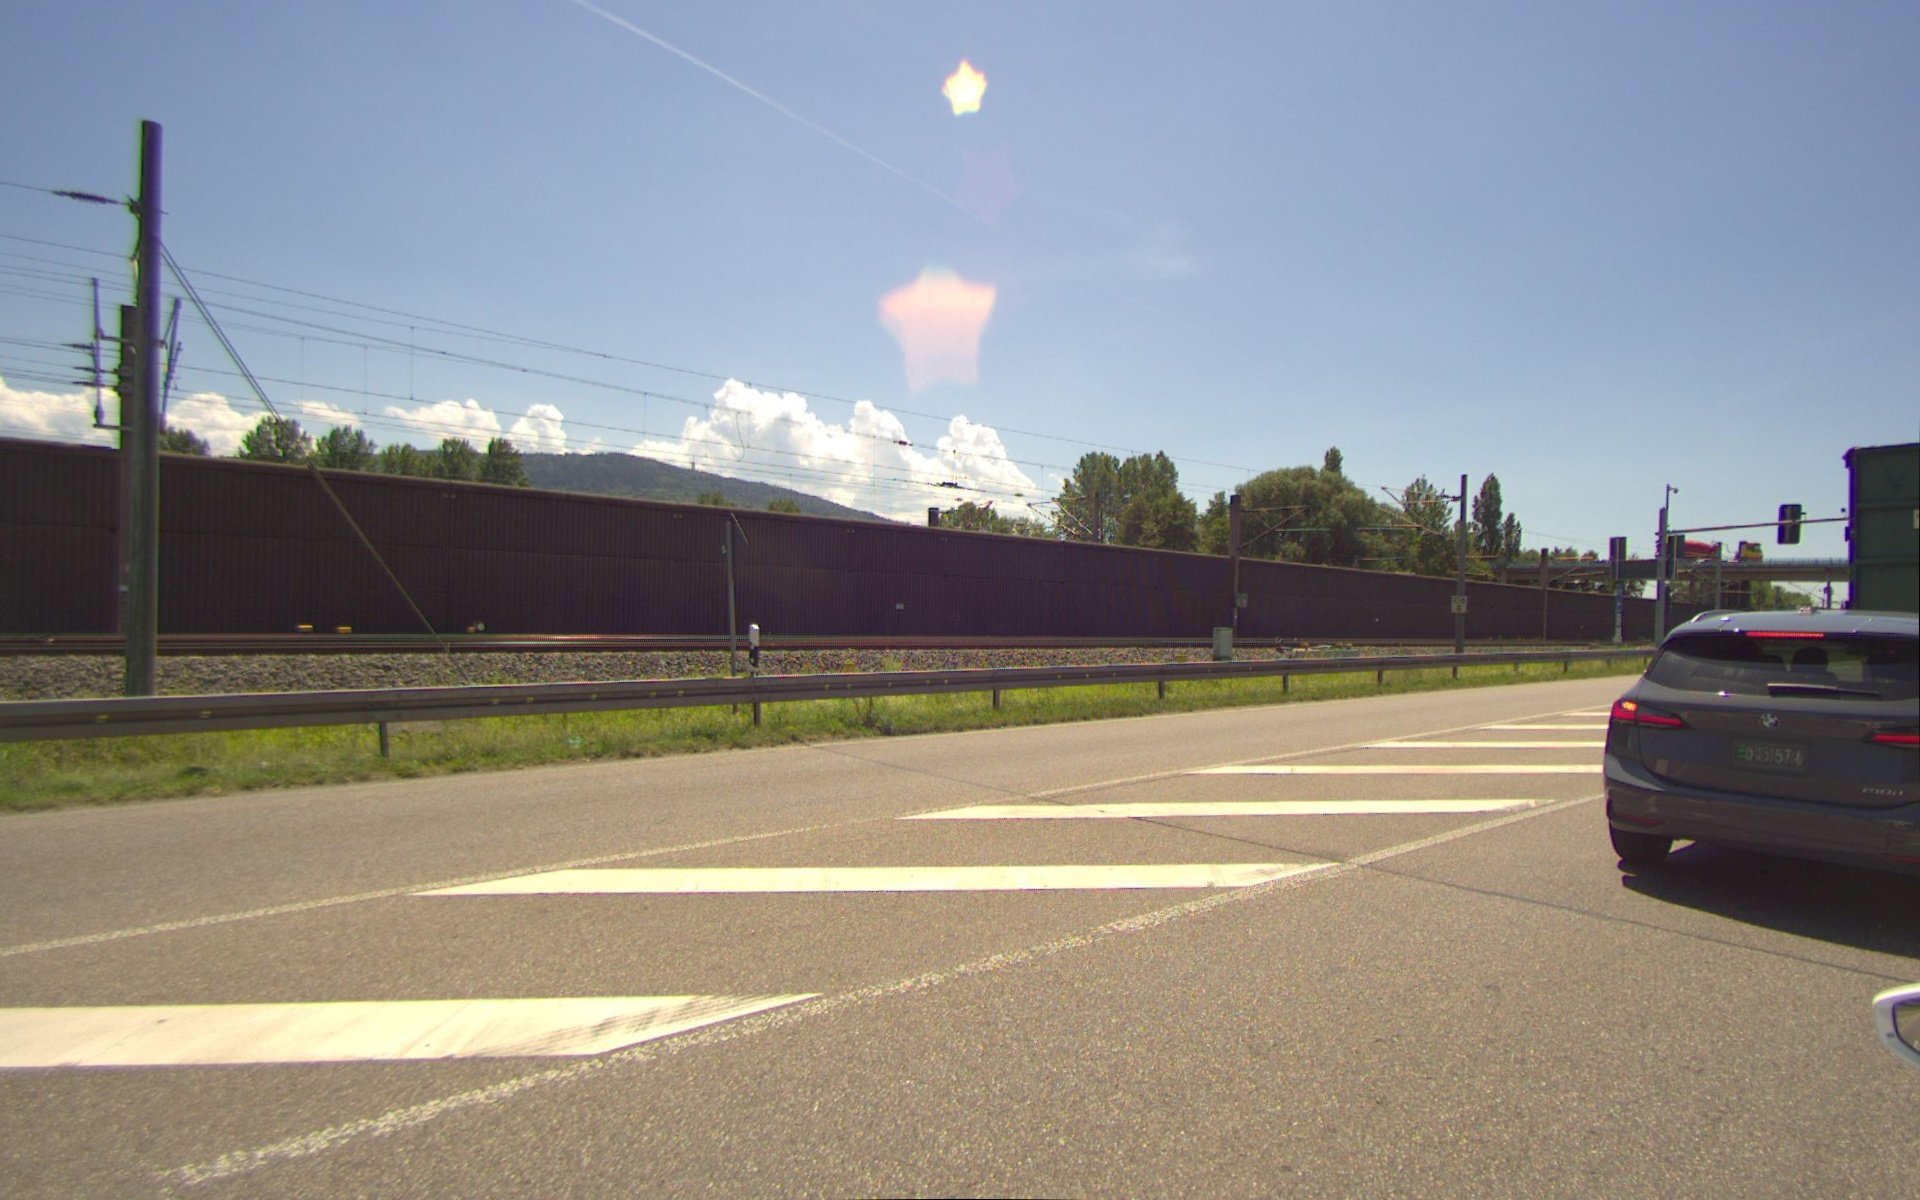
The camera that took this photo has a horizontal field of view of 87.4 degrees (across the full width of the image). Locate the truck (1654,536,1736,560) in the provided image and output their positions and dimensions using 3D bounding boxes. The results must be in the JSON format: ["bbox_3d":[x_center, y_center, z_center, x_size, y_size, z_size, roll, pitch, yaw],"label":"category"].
[{"bbox_3d":[95.852,-6.735,131.082,1.983,2.710,8.426,2,-1,-39],"label":"truck"}]

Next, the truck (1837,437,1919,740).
[{"bbox_3d":[15.966,-0.063,15.214,9.495,3.787,2.568,1,-1,-40],"label":"truck"}]

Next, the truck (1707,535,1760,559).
[{"bbox_3d":[98.450,-6.769,127.910,1.984,2.710,5.046,2,-1,-41],"label":"truck"}]

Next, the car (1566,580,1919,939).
[{"bbox_3d":[5.677,0.785,6.391,4.190,1.644,1.830,2,-1,-39],"label":"car"}]
